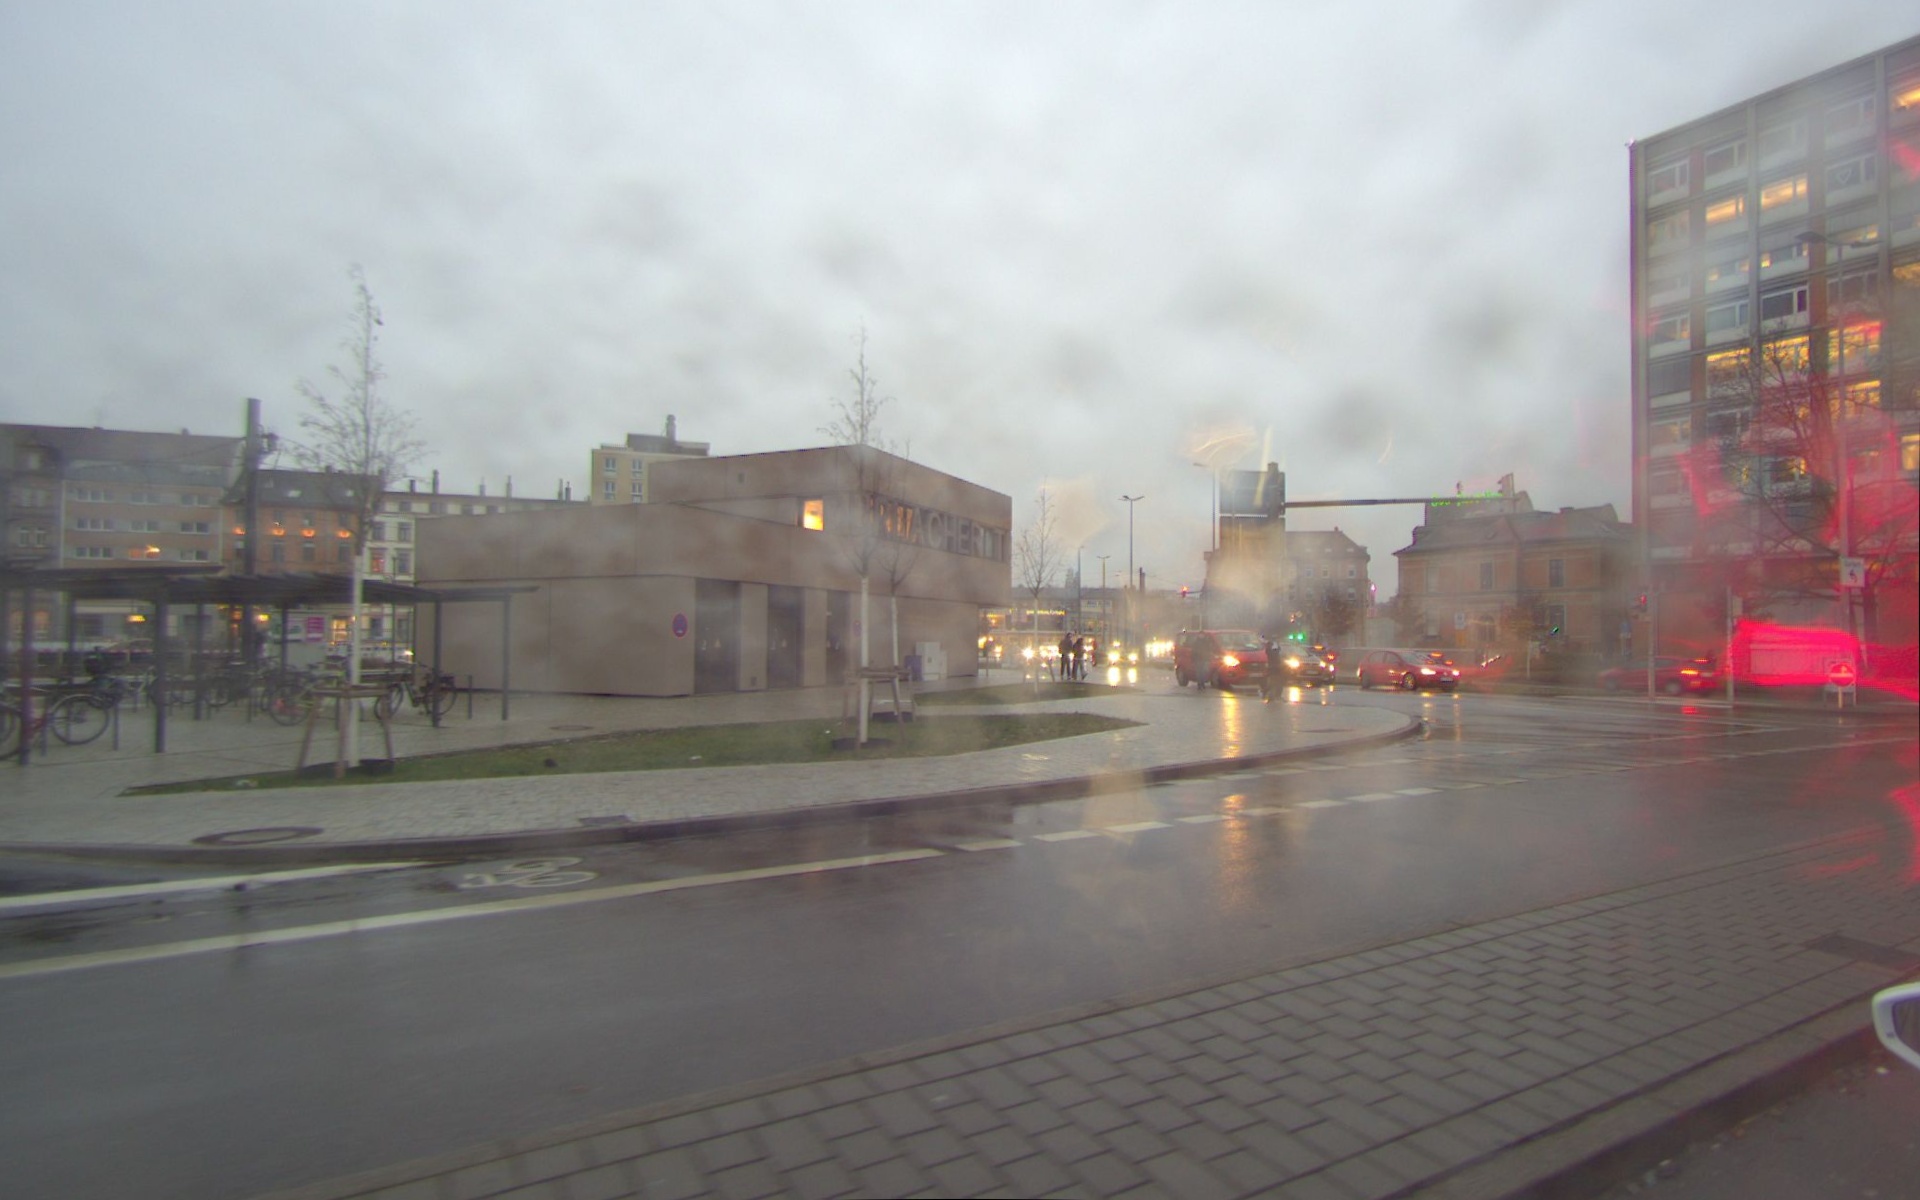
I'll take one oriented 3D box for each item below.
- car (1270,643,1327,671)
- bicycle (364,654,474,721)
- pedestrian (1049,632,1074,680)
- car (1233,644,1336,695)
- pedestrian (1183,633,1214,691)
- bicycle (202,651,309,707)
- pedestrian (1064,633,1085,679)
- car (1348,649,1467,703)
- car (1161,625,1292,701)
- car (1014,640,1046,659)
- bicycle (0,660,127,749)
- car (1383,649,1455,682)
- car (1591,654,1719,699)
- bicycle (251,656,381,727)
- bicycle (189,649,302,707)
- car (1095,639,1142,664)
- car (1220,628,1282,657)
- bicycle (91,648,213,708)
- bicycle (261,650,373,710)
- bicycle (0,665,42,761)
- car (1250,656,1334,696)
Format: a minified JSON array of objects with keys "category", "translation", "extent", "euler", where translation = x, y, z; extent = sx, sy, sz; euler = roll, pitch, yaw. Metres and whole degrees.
[{"category":"car","translation":[20.460,3.431,60.830],"extent":[1.444,1.505,3.920],"euler":[3,-1,-12]},{"category":"bicycle","translation":[-10.438,1.664,19.456],"extent":[0.540,1.180,1.898],"euler":[2,-2,24]},{"category":"pedestrian","translation":[3.996,2.210,39.561],"extent":[0.670,1.839,0.692],"euler":[3,-1,-16]},{"category":"car","translation":[12.608,2.664,39.304],"extent":[1.732,1.706,4.063],"euler":[3,-1,-18]},{"category":"pedestrian","translation":[7.362,1.905,31.027],"extent":[0.781,1.719,0.461],"euler":[3,-1,-7]},{"category":"bicycle","translation":[-15.969,1.767,22.831],"extent":[0.540,1.180,1.895],"euler":[2,-2,30]},{"category":"pedestrian","translation":[4.533,2.214,39.699],"extent":[0.576,1.795,0.610],"euler":[3,-1,-16]},{"category":"car","translation":[16.306,2.741,36.840],"extent":[1.731,1.706,4.069],"euler":[3,-1,-16]},{"category":"car","translation":[9.122,2.111,34.914],"extent":[2.220,2.311,5.025],"euler":[3,-1,-13]},{"category":"car","translation":[6.053,4.298,87.228],"extent":[1.578,1.468,3.637],"euler":[3,-1,-16]},{"category":"bicycle","translation":[-13.041,1.453,14.154],"extent":[0.540,1.180,1.895],"euler":[2,-2,30]},{"category":"car","translation":[23.193,3.302,50.877],"extent":[1.445,1.416,3.412],"euler":[5,-2,-14]},{"category":"car","translation":[26.005,2.830,37.712],"extent":[1.540,1.416,3.788],"euler":[3,-1,-17]},{"category":"bicycle","translation":[-11.594,1.625,18.165],"extent":[0.540,1.180,1.895],"euler":[2,-2,30]},{"category":"bicycle","translation":[-15.352,1.654,21.636],"extent":[0.540,1.180,1.895],"euler":[2,-2,30]},{"category":"car","translation":[10.519,3.395,66.951],"extent":[1.579,1.466,3.636],"euler":[3,-1,-17]},{"category":"car","translation":[21.003,3.038,72.809],"extent":[1.966,1.938,5.157],"euler":[1,-1,-14]},{"category":"bicycle","translation":[-16.948,1.616,21.121],"extent":[0.540,1.180,1.895],"euler":[2,-2,30]},{"category":"bicycle","translation":[-13.508,1.662,21.154],"extent":[0.540,1.180,1.895],"euler":[2,-2,30]},{"category":"bicycle","translation":[-12.708,1.420,12.417],"extent":[0.540,1.180,1.895],"euler":[2,-2,30]},{"category":"car","translation":[14.539,3.295,44.138],"extent":[1.578,1.468,3.827],"euler":[3,-1,-16]}]
